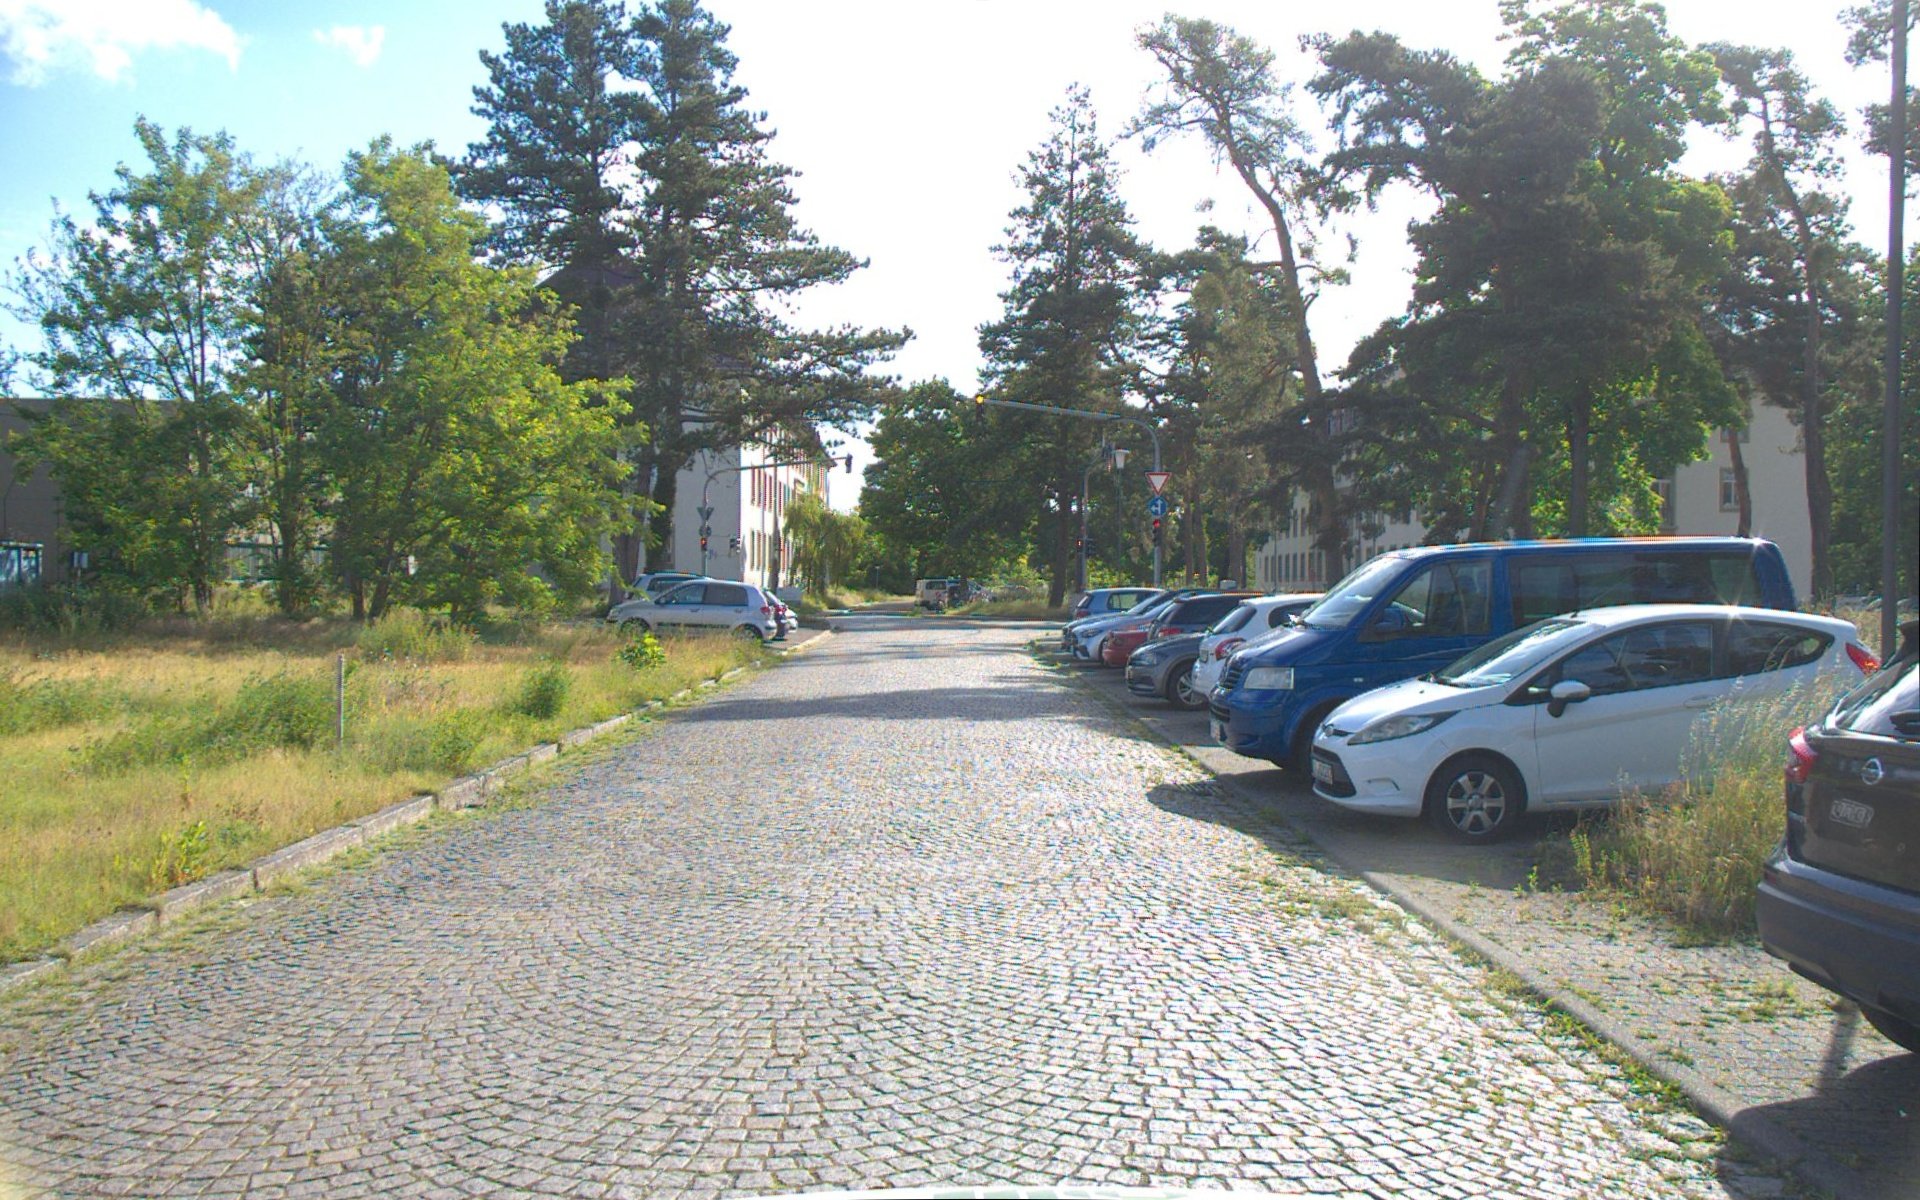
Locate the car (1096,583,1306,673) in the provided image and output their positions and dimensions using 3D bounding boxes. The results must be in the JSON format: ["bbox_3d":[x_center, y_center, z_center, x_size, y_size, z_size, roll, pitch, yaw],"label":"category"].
[{"bbox_3d":[4.342,0.489,30.128,3.530,1.556,1.645,0,1,-2],"label":"car"}]

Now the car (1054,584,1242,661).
[{"bbox_3d":[3.930,0.460,34.970,3.758,1.556,1.645,0,1,-2],"label":"car"}]

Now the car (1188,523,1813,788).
[{"bbox_3d":[4.408,0.433,13.991,4.584,2.049,2.082,0,1,-4],"label":"car"}]

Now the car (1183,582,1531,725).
[{"bbox_3d":[4.513,0.585,19.172,3.619,1.491,1.645,-1,0,0],"label":"car"}]

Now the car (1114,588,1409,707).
[{"bbox_3d":[3.958,0.600,22.049,3.601,1.492,1.645,0,0,-2],"label":"car"}]

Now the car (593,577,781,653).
[{"bbox_3d":[-5.984,0.312,36.645,3.908,1.628,1.999,0,1,-4],"label":"car"}]

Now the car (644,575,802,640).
[{"bbox_3d":[-6.320,0.189,44.428,3.907,1.478,2.000,4,0,-2],"label":"car"}]

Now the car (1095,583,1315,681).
[{"bbox_3d":[4.048,0.511,27.661,3.408,1.556,1.645,0,1,-2],"label":"car"}]

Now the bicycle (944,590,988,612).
[{"bbox_3d":[0.311,0.037,86.536,2.134,1.119,0.805,1,0,-11],"label":"bicycle"}]

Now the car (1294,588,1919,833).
[{"bbox_3d":[4.286,0.686,11.311,3.645,1.514,1.644,0,1,-3],"label":"car"}]

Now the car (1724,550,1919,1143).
[{"bbox_3d":[4.596,0.699,4.898,3.857,1.650,1.771,0,1,-2],"label":"car"}]

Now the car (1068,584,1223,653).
[{"bbox_3d":[4.183,0.413,37.615,3.276,1.508,1.645,0,1,-2],"label":"car"}]

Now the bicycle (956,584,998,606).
[{"bbox_3d":[0.910,-0.291,87.745,2.134,1.119,0.805,1,0,-11],"label":"bicycle"}]

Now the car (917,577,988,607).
[{"bbox_3d":[-0.466,-0.525,103.992,4.390,1.758,1.999,1,0,-2],"label":"car"}]

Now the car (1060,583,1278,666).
[{"bbox_3d":[4.027,0.466,32.201,3.955,1.556,1.644,0,1,-5],"label":"car"}]

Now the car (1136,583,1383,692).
[{"bbox_3d":[4.466,0.544,24.977,3.408,1.556,1.645,0,1,-2],"label":"car"}]

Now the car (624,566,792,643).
[{"bbox_3d":[-6.348,0.109,42.026,3.907,1.629,2.000,4,0,-2],"label":"car"}]

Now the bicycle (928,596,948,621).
[{"bbox_3d":[-1.107,0.428,83.050,0.789,1.190,2.177,-1,1,-7],"label":"bicycle"}]
